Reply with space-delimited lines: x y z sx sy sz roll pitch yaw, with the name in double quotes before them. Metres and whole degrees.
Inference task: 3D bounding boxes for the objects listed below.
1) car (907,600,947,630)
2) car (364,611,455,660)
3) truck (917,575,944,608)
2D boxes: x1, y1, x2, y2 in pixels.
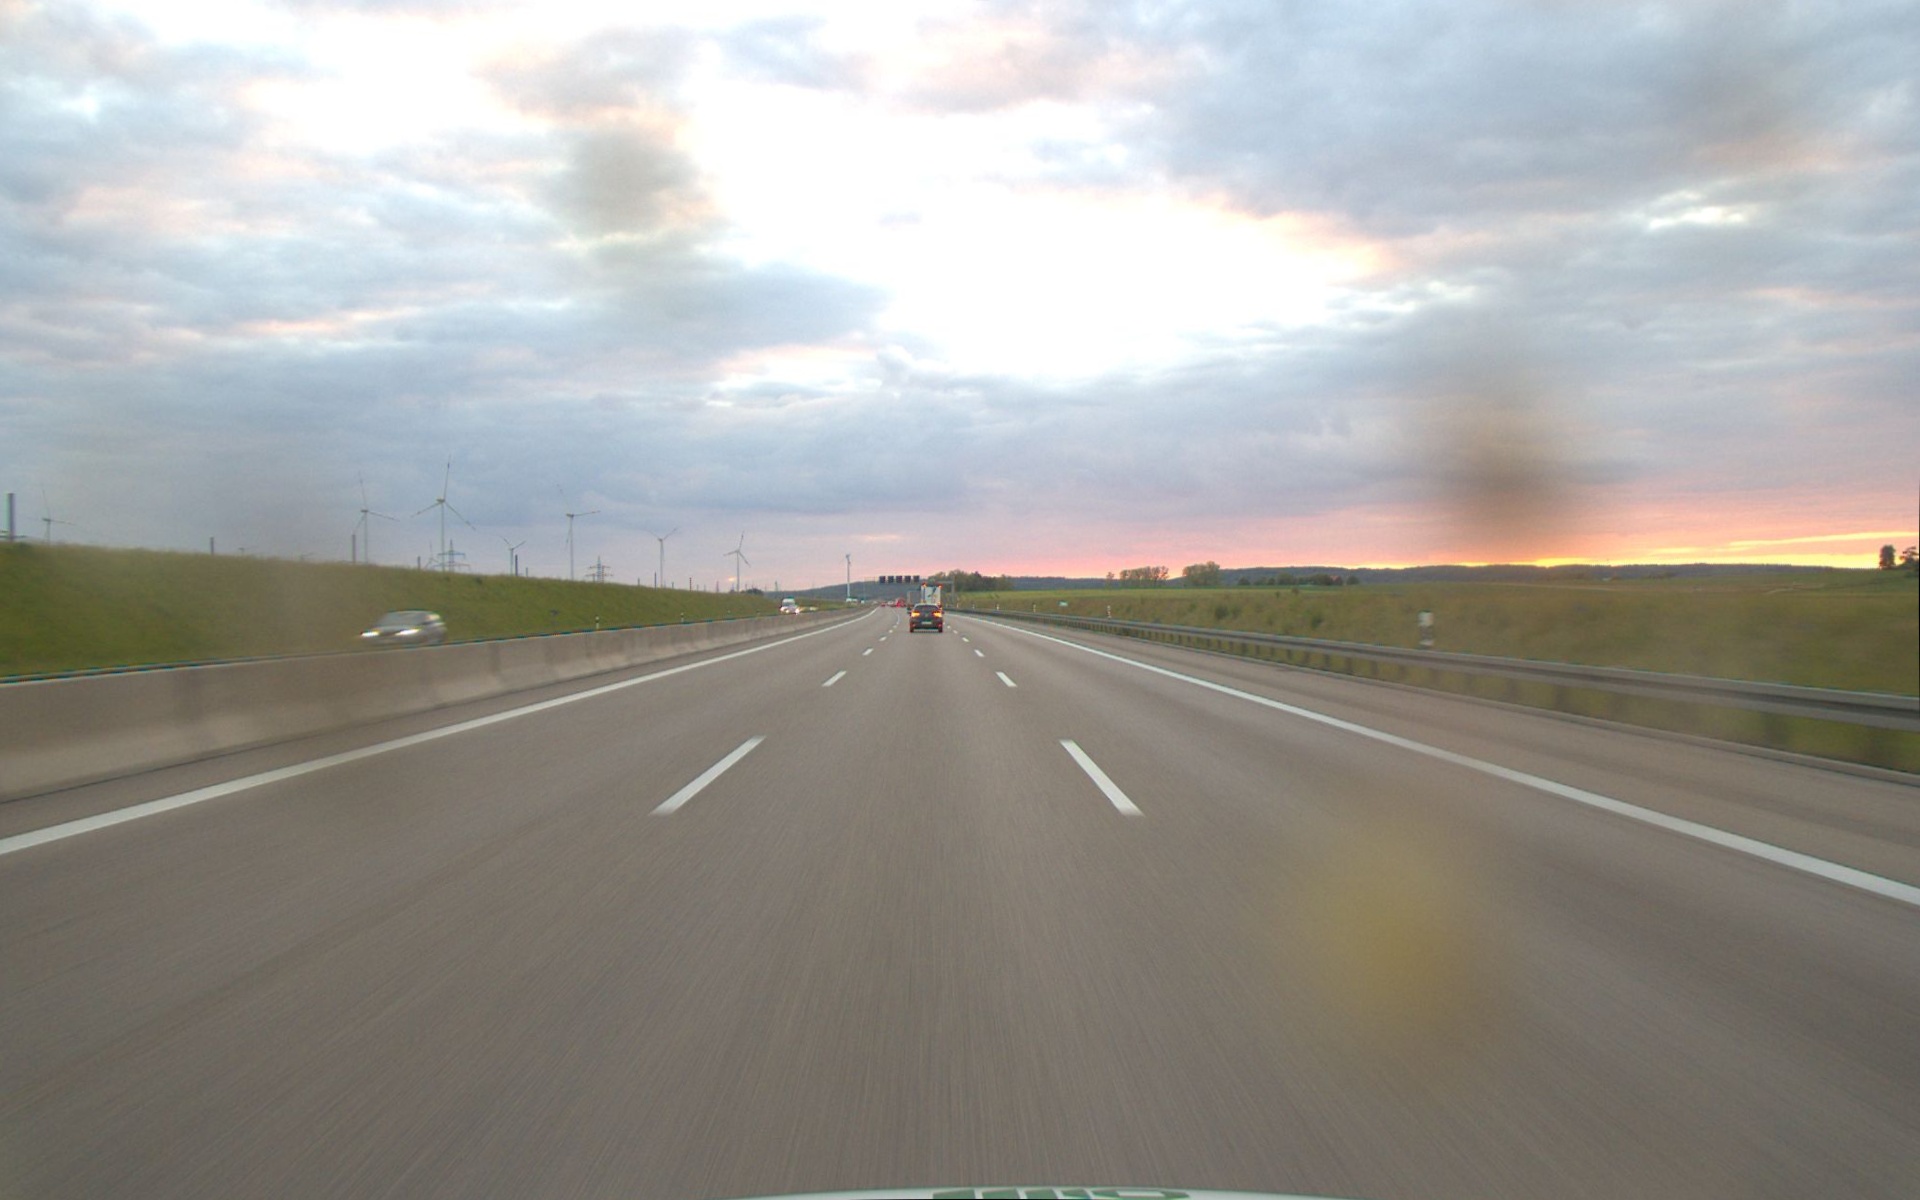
"car" -1.666 0.770 85.428 1.947 1.455 4.000 -1 0 0
"car" -19.636 1.238 59.169 1.824 1.580 4.580 -1 0 -2
"truck" -4.350 -1.192 244.743 3.602 4.644 10.975 -1 0 -3
